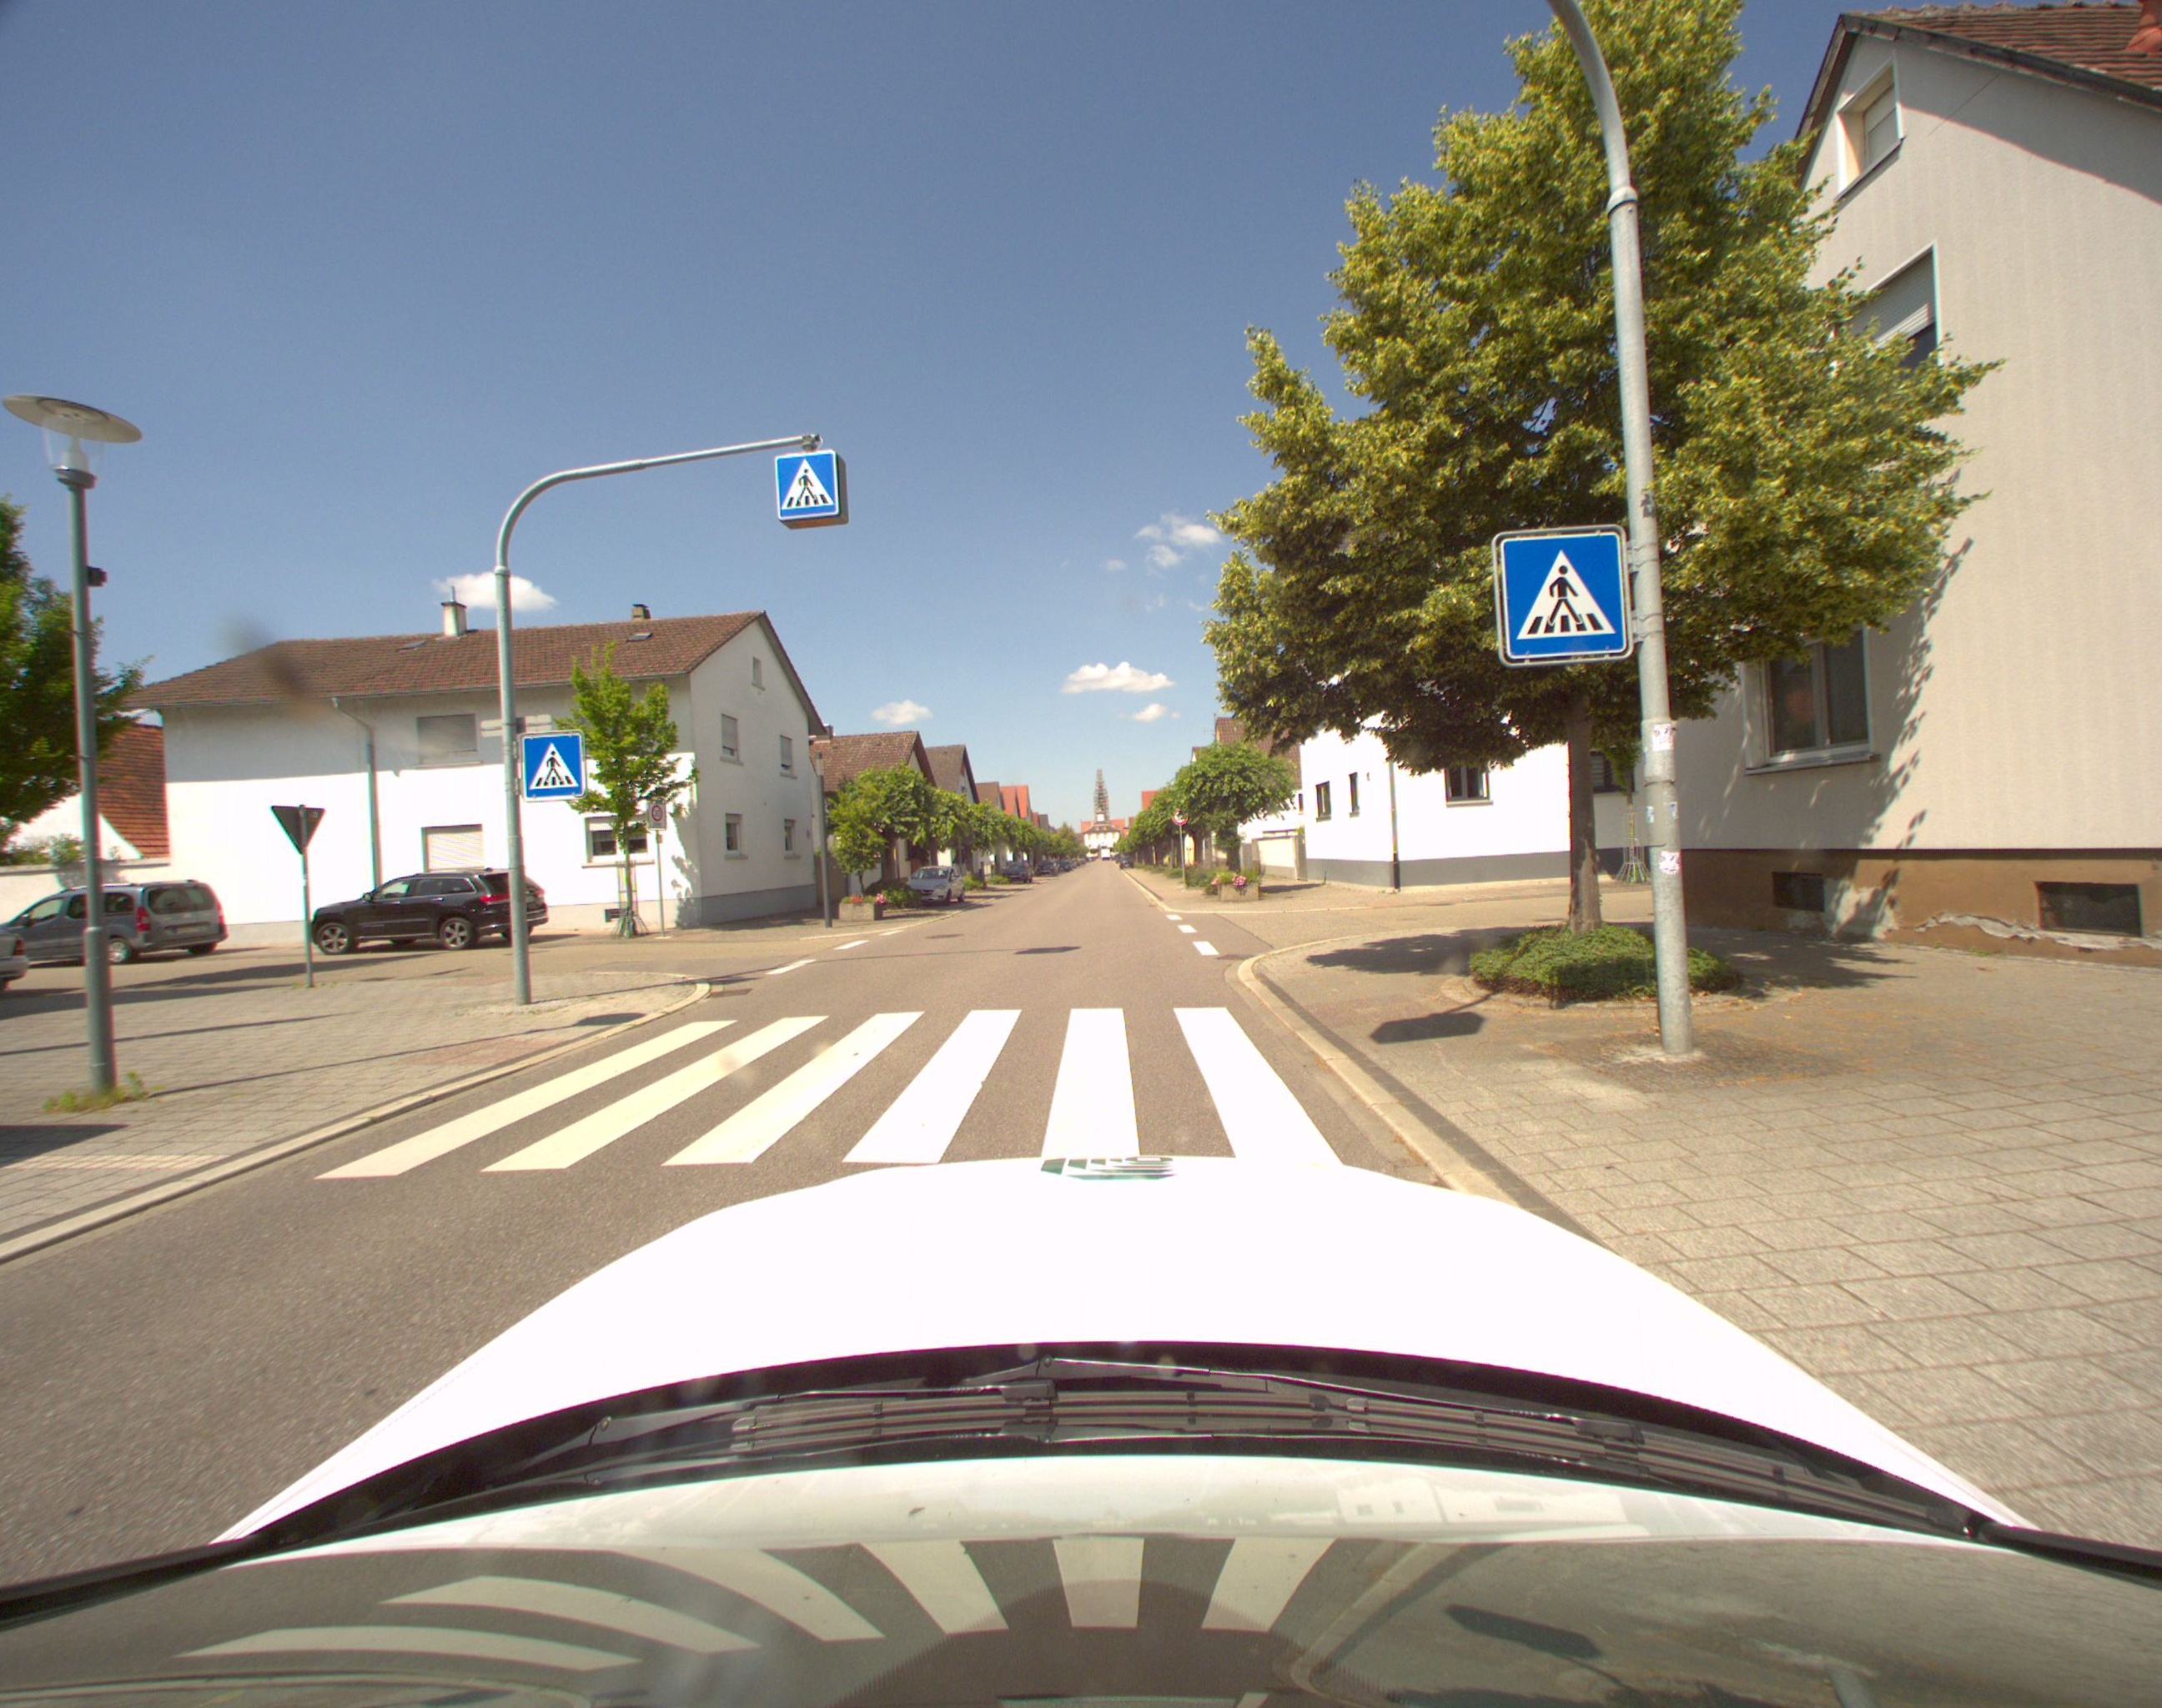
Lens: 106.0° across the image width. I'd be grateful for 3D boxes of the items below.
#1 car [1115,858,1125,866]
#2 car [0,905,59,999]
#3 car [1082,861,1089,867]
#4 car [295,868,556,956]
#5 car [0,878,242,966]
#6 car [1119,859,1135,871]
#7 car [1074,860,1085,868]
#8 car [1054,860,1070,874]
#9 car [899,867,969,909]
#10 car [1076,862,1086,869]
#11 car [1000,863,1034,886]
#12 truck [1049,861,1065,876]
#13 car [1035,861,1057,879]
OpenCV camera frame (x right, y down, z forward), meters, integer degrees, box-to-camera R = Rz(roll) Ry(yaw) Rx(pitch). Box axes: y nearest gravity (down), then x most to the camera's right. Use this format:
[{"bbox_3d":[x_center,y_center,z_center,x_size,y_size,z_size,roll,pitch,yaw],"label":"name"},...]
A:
[{"bbox_3d":[8.332,1.737,174.475,1.831,1.555,4.315,-5,0,1],"label":"car"},{"bbox_3d":[-19.463,1.669,12.824,4.408,1.462,1.868,-2,-1,1],"label":"car"},{"bbox_3d":[1.372,2.794,231.676,1.751,1.555,4.022,-3,0,2],"label":"car"},{"bbox_3d":[-15.133,1.300,18.999,4.407,1.715,2.001,-2,1,1],"label":"car"},{"bbox_3d":[-22.975,1.571,19.136,4.407,1.740,2.001,-2,1,1],"label":"car"},{"bbox_3d":[5.853,1.398,104.912,1.817,1.432,4.058,-5,0,2],"label":"car"},{"bbox_3d":[-0.198,1.958,166.546,1.985,1.611,4.692,-1,0,3],"label":"car"},{"bbox_3d":[-2.477,1.684,104.643,1.782,1.634,3.994,-2,-1,-4],"label":"car"},{"bbox_3d":[-5.601,1.265,31.533,1.818,1.483,4.134,-1,-1,2],"label":"car"},{"bbox_3d":[0.017,2.585,188.429,1.985,1.611,4.692,0,0,3],"label":"car"},{"bbox_3d":[-4.620,1.479,59.353,1.845,1.613,4.139,-1,-1,4],"label":"car"},{"bbox_3d":[-2.839,1.713,95.943,1.570,1.765,4.193,-1,-1,2],"label":"truck"},{"bbox_3d":[-3.379,1.559,79.431,1.846,1.636,4.301,-1,0,2],"label":"car"}]
